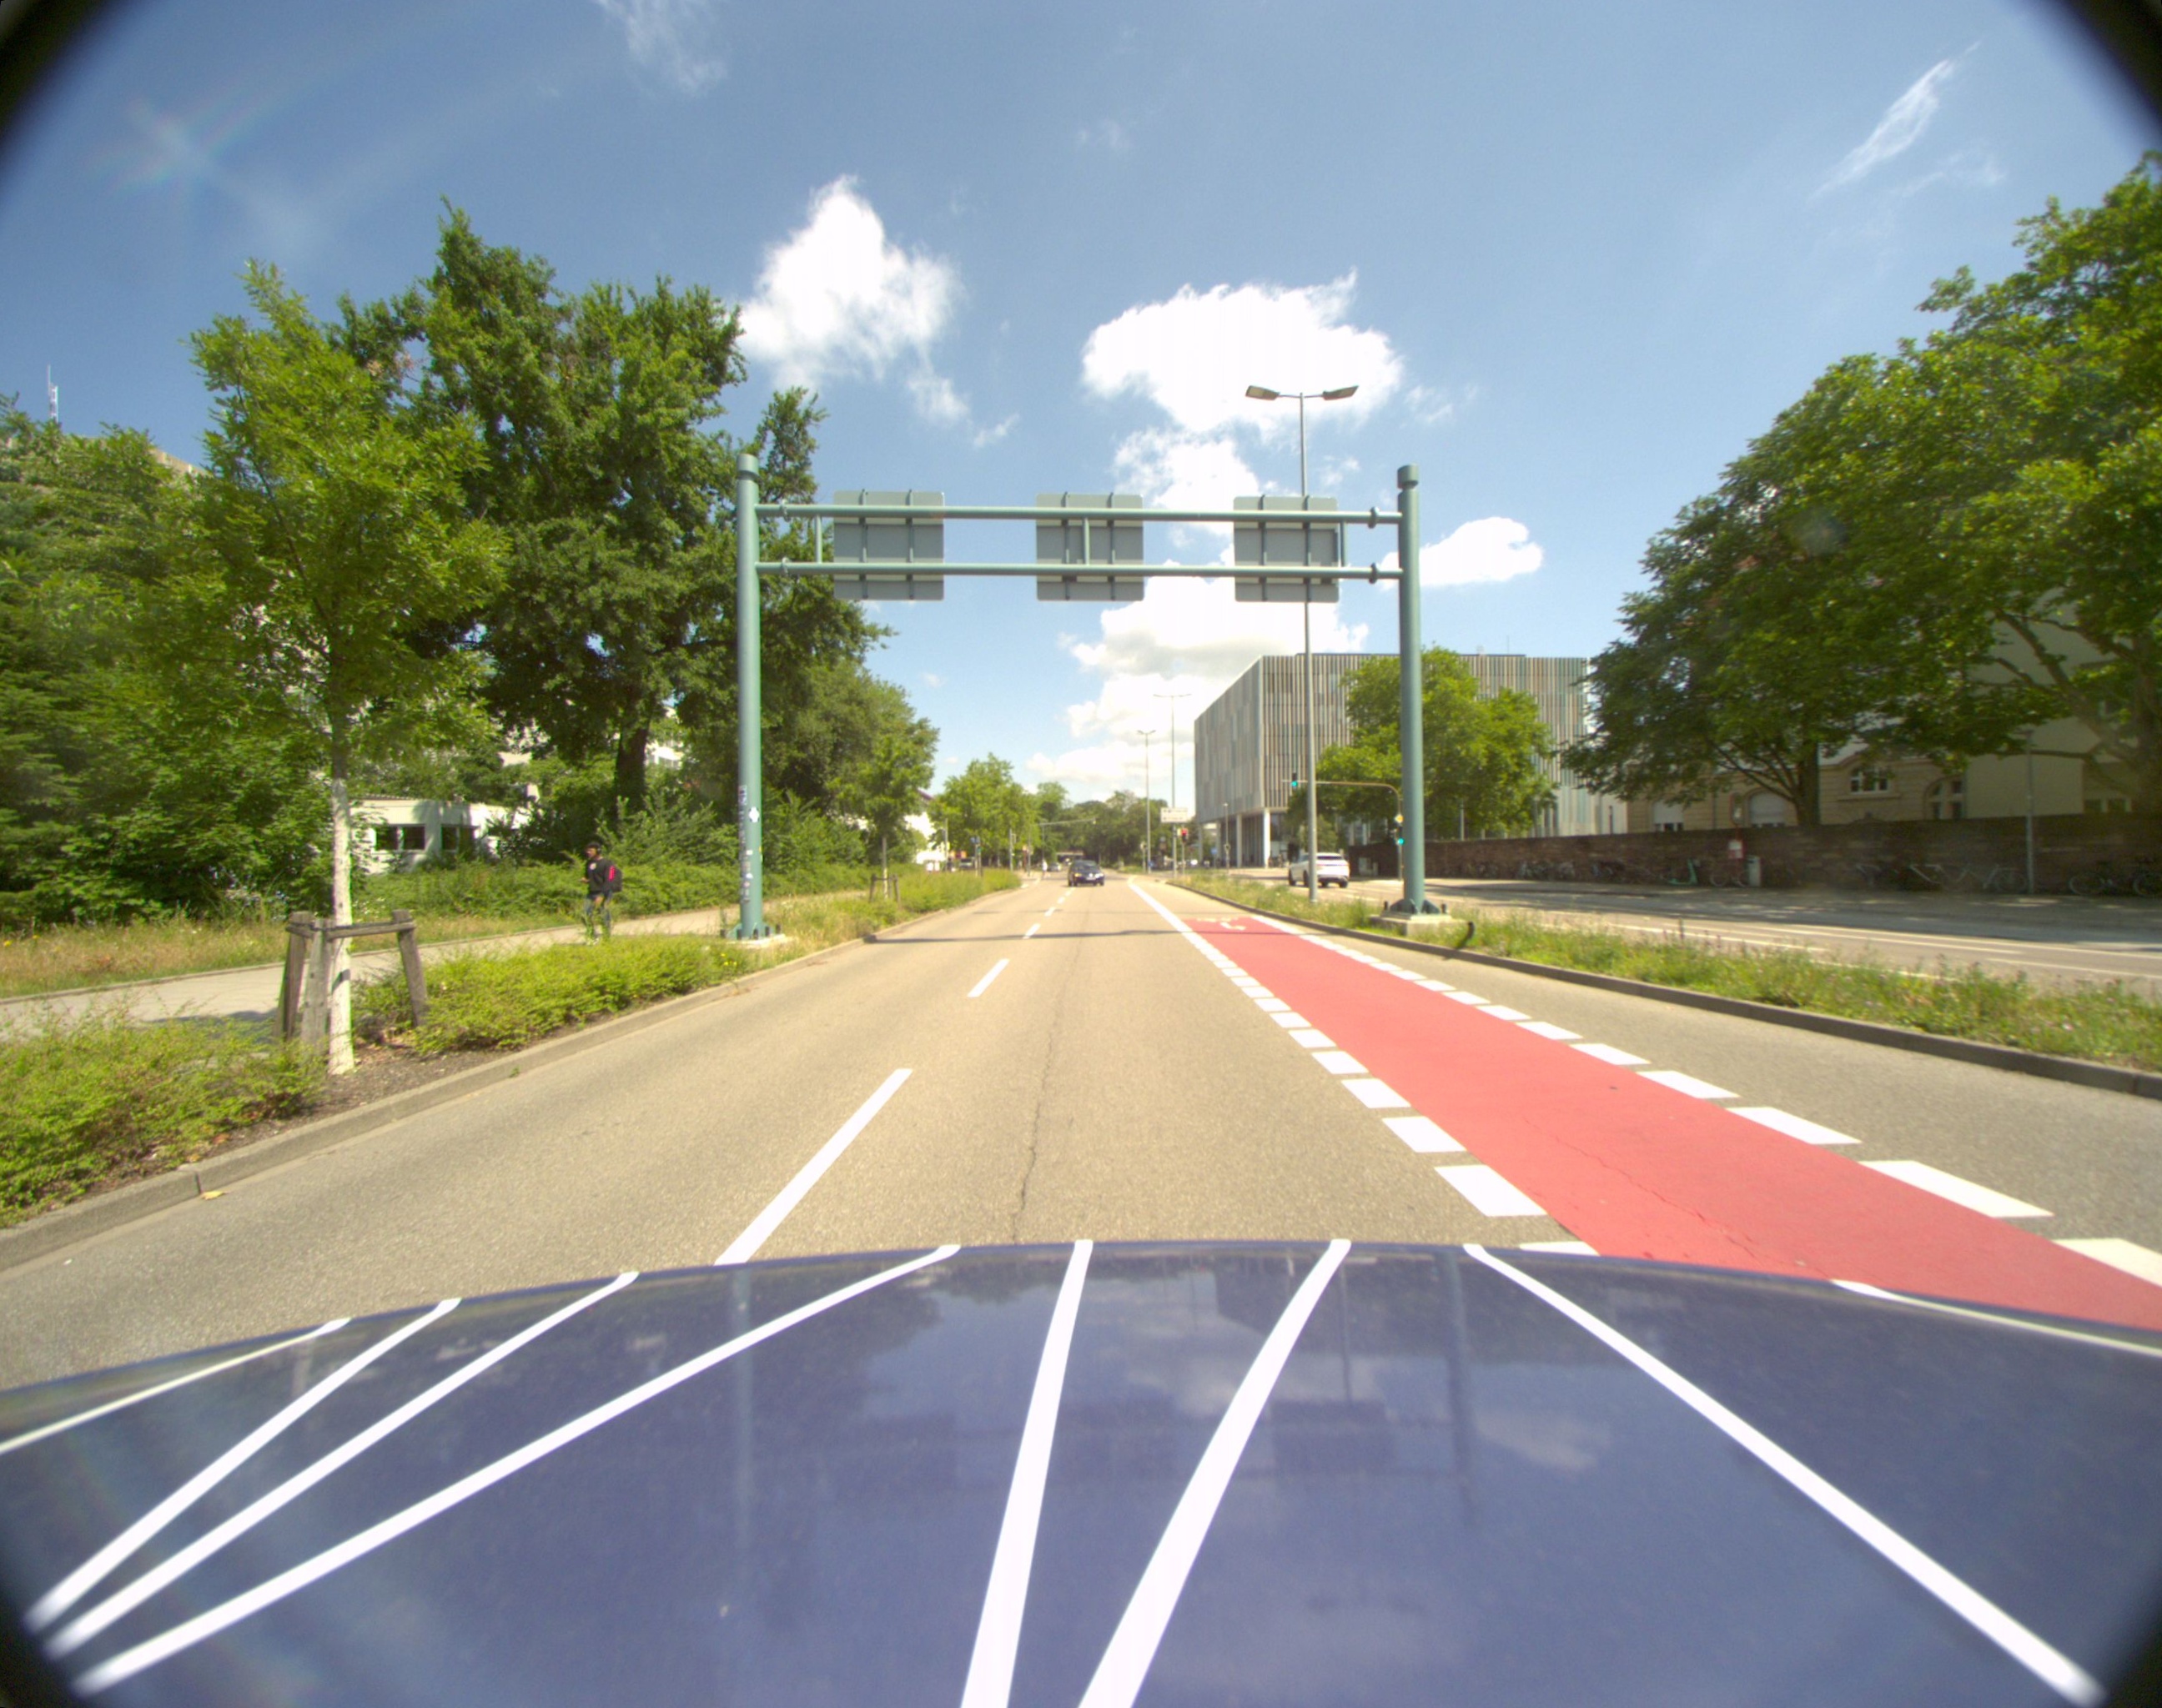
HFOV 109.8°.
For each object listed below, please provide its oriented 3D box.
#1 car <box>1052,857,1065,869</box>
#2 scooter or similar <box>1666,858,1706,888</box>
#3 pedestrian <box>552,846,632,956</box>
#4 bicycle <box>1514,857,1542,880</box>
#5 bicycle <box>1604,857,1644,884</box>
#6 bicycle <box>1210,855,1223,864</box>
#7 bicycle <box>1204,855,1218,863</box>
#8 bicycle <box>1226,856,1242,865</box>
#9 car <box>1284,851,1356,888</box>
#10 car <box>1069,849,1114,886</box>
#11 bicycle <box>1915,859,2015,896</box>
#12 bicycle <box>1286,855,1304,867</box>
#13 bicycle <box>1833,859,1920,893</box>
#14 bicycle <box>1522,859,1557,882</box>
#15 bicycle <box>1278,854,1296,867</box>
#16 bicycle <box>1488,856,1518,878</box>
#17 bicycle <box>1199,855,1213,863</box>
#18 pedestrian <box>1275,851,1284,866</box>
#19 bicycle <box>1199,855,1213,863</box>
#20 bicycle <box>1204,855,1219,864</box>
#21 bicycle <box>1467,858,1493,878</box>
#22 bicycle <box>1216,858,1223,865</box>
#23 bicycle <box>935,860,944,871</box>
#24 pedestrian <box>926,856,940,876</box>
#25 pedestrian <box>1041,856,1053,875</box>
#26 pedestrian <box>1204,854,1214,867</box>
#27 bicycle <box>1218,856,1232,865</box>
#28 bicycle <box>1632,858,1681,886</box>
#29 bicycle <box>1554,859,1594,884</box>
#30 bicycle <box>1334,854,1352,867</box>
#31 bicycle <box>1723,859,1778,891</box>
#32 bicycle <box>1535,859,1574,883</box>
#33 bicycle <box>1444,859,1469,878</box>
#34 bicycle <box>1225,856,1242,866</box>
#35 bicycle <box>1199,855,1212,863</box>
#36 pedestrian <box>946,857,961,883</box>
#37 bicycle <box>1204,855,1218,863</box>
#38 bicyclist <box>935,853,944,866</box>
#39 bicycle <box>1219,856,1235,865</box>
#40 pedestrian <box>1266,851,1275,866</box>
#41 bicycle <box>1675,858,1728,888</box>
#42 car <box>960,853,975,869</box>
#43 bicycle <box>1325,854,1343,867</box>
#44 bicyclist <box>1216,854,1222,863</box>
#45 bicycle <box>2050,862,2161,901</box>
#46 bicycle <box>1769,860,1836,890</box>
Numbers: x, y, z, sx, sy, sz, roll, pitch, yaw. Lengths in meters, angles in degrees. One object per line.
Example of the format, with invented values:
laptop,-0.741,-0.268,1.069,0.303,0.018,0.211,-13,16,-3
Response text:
car,-3.530,1.414,120.872,1.913,1.772,3.999,-1,0,-3
scooter or similar,23.922,0.731,30.070,0.433,1.145,1.191,-1,0,-20
pedestrian,-7.940,0.742,12.374,0.718,1.711,0.837,-1,1,2
bicycle,23.403,0.746,39.835,0.413,1.145,1.593,-1,0,-5
bicycle,24.026,0.731,33.665,0.403,1.145,1.593,-1,0,-11
bicycle,23.679,0.961,132.869,2.071,1.486,0.621,-1,0,1
bicycle,23.360,0.933,136.546,2.511,1.486,0.621,-1,0,1
bicycle,24.325,1.057,120.754,2.509,1.486,0.730,-1,0,10
car,11.499,0.729,36.915,2.076,1.657,4.776,-1,0,2
car,0.543,0.746,43.832,2.000,2.002,3.997,-1,0,-8
bicycle,25.960,0.679,22.366,0.545,1.041,1.894,-1,0,-11
bicycle,27.413,0.932,97.402,2.693,1.485,0.930,-1,0,-44
bicycle,25.626,0.688,24.522,0.545,1.041,1.948,-1,0,-11
bicycle,23.115,0.817,38.330,0.403,1.145,1.591,-1,0,-22
bicycle,26.647,0.854,98.136,0.808,1.634,3.422,-1,0,42
bicycle,23.052,0.710,41.540,0.623,1.145,1.593,-1,0,-8
bicycle,23.163,0.897,140.941,2.511,1.486,0.621,-1,0,1
pedestrian,25.964,0.585,99.264,0.969,1.914,0.880,-1,1,27
bicycle,23.053,0.905,140.241,2.511,1.486,0.621,-1,0,1
bicycle,23.266,0.944,135.433,2.511,1.486,0.621,-1,0,1
bicycle,22.709,0.793,43.247,0.500,1.145,1.593,-1,0,-8
bicycle,19.313,1.026,106.285,0.647,0.992,2.164,-1,0,2
bicycle,-17.133,1.415,92.069,0.885,1.244,2.164,-1,0,-8
pedestrian,-13.606,1.113,69.849,0.974,1.861,0.876,-1,1,-39
pedestrian,-3.553,1.178,79.159,1.108,1.914,0.972,-1,0,6
pedestrian,16.325,0.818,97.098,0.972,1.619,0.878,-1,0,-8
bicycle,23.897,1.014,126.532,2.200,1.486,0.621,-1,0,1
bicycle,24.198,0.730,31.990,0.534,1.145,1.591,-1,0,-21
bicycle,23.379,0.811,36.049,0.403,1.145,1.590,-1,0,-32
bicycle,31.988,0.780,92.634,0.997,1.543,3.422,-1,0,37
bicycle,24.966,0.768,28.347,0.433,1.136,1.593,-1,0,-12
bicycle,23.178,0.804,37.188,0.403,1.145,1.590,-1,0,-32
bicycle,22.418,0.878,45.380,0.573,1.092,1.593,-1,0,-8
bicycle,24.037,1.072,119.749,2.451,1.486,0.621,-1,0,1
bicycle,23.263,0.990,142.228,2.302,1.486,0.657,-1,0,1
pedestrian,-8.796,1.103,52.255,0.815,1.711,0.929,-1,1,2
bicycle,23.579,0.920,137.614,2.330,1.486,0.621,-1,0,1
bicyclist,-17.137,0.665,91.904,0.972,1.436,1.076,-1,0,-7
bicycle,23.742,1.043,123.437,2.511,1.486,0.621,-1,0,1
pedestrian,23.952,0.604,96.060,0.969,1.914,0.880,-1,1,30
bicycle,24.674,0.738,30.249,0.534,1.145,1.591,-1,0,-21
car,-15.771,0.966,105.805,2.000,2.042,4.226,-1,0,-8
bicycle,31.165,0.780,93.559,0.997,1.543,3.422,-1,0,37
bicyclist,19.377,0.605,106.475,0.618,1.219,0.834,-1,0,-1
bicycle,26.453,0.682,19.635,0.545,0.944,1.664,-1,0,-11
bicycle,25.261,0.703,26.642,0.482,1.002,1.800,-1,0,-8
